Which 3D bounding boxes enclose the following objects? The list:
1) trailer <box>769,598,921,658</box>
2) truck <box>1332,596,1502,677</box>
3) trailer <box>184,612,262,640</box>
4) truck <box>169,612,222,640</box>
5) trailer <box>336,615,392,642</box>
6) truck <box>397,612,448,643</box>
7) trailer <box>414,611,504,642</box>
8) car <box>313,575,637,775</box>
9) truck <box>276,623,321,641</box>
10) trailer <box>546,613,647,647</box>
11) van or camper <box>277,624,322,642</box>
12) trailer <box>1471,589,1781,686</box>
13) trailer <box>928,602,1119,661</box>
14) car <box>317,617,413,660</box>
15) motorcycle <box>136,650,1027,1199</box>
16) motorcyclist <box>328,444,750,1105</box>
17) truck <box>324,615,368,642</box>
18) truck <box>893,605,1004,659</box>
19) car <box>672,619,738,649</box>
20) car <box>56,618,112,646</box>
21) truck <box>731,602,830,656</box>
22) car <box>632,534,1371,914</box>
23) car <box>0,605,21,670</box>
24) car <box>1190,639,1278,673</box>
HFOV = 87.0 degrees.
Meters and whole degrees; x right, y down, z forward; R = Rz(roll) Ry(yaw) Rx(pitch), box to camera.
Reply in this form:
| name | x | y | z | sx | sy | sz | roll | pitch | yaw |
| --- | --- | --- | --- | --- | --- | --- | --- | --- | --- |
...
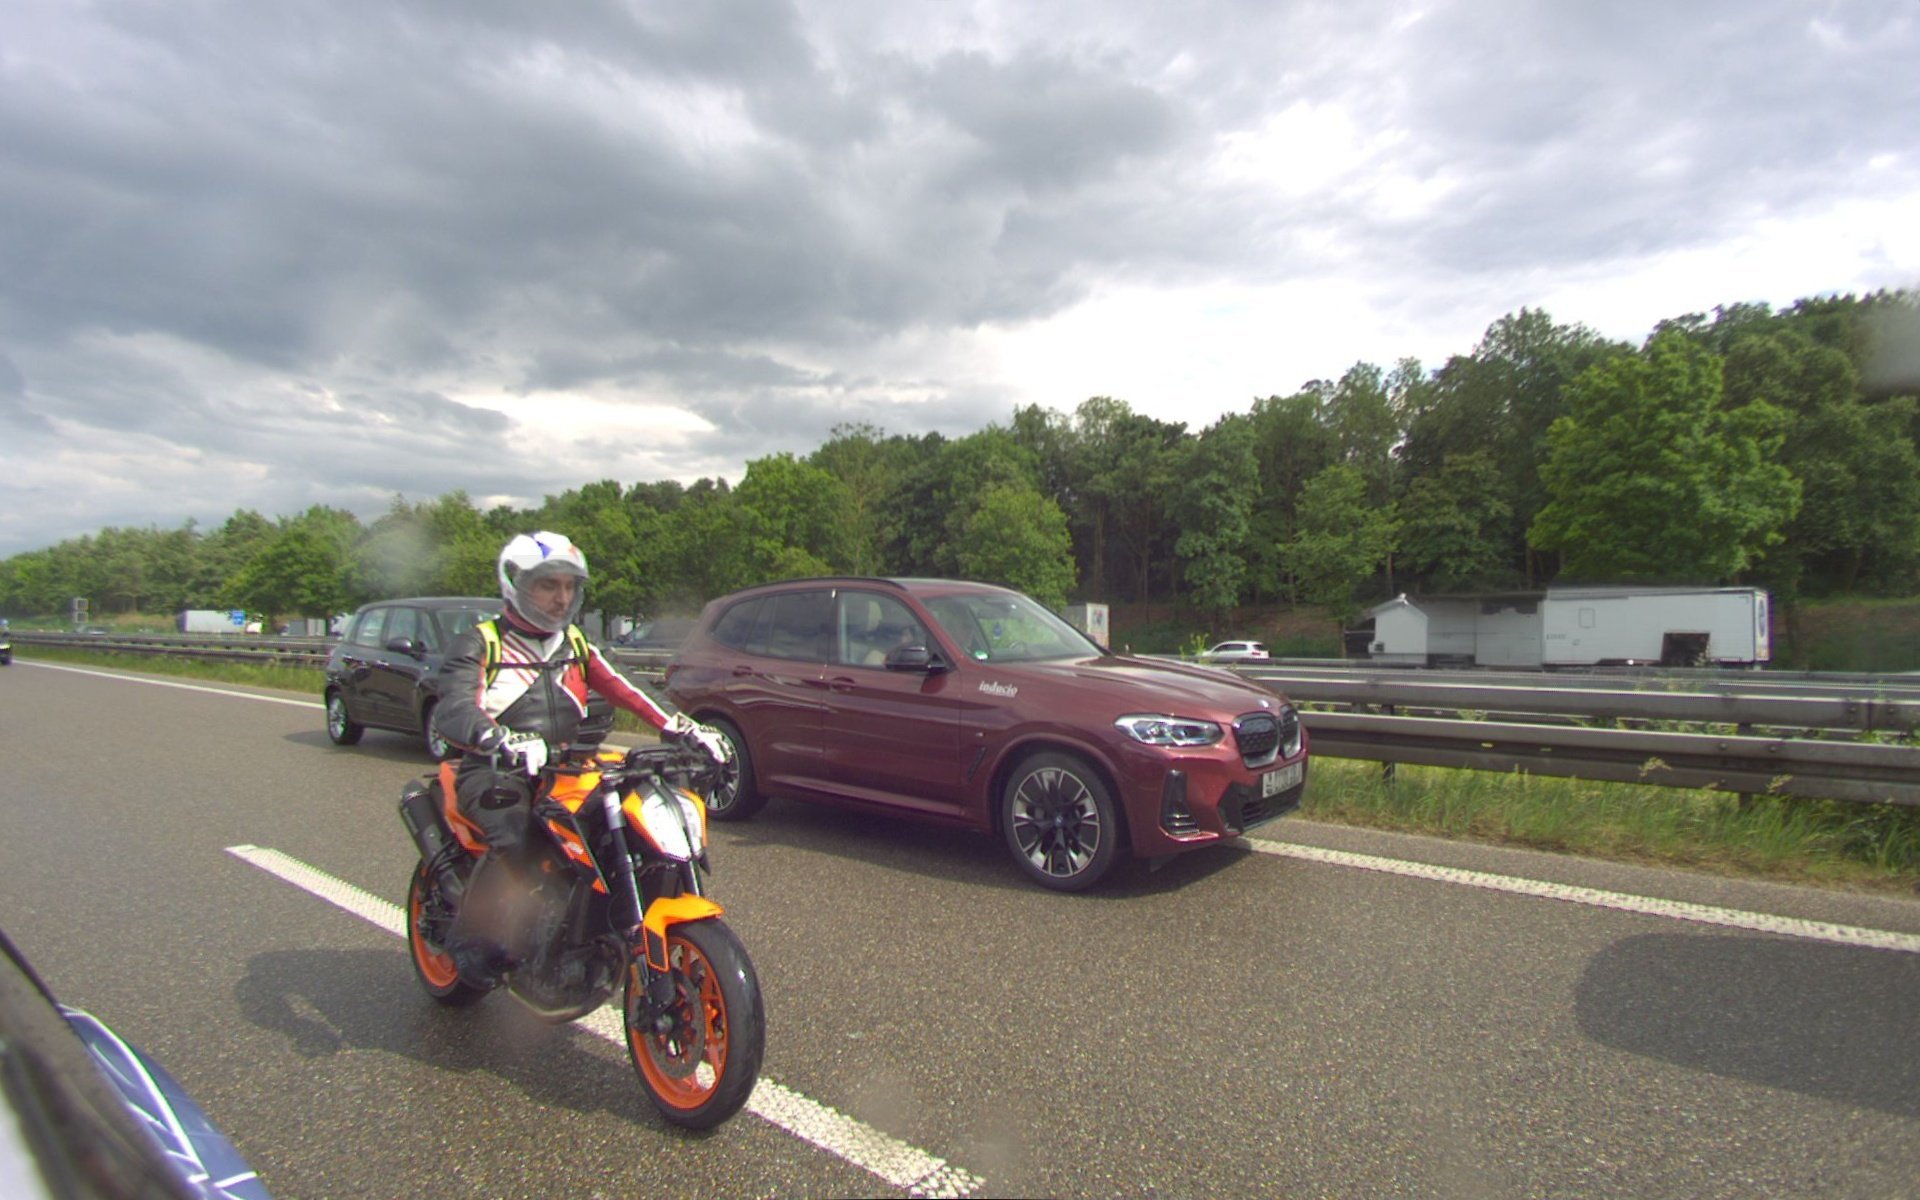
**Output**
| name | x | y | z | sx | sy | sz | roll | pitch | yaw |
| --- | --- | --- | --- | --- | --- | --- | --- | --- | --- |
| trailer | -9.412 | 2.214 | 80.695 | 13.792 | 4.439 | 3.750 | -1 | -2 | 41 |
| truck | 22.282 | 1.679 | 49.565 | 3.744 | 3.688 | 6.709 | -1 | 0 | -45 |
| trailer | -102.140 | 3.613 | 140.191 | 12.500 | 3.767 | 3.186 | -1 | -2 | 26 |
| truck | -108.052 | 3.678 | 143.016 | 6.878 | 3.732 | 3.190 | -1 | 0 | 25 |
| trailer | -74.142 | 3.491 | 125.881 | 7.710 | 3.257 | 2.561 | -1 | -1 | 30 |
| truck | -63.552 | 3.192 | 119.651 | 5.878 | 3.482 | 2.838 | -1 | 0 | 32 |
| trailer | -57.353 | 3.063 | 115.630 | 13.384 | 3.431 | 2.801 | -1 | -2 | 33 |
| car | -5.428 | 0.694 | 11.124 | 3.971 | 1.818 | 1.676 | -1 | 0 | 39 |
| truck | -87.052 | 4.188 | 133.212 | 6.286 | 2.282 | 2.106 | -1 | -1 | 27 |
| trailer | -36.624 | 3.007 | 101.621 | 12.455 | 3.241 | 3.316 | -1 | -2 | 38 |
| van or camper | -86.925 | 4.300 | 133.264 | 6.290 | 2.282 | 2.106 | -1 | -1 | 27 |
| trailer | 28.163 | 1.551 | 43.402 | 3.743 | 3.677 | 10.508 | 1 | -2 | -43 |
| trailer | 4.025 | 2.104 | 68.330 | 13.337 | 3.677 | 3.750 | -1 | -2 | 41 |
| car | -26.625 | 1.662 | 45.200 | 5.204 | 1.789 | 2.031 | -1 | 0 | 39 |
| motorcycle | -1.442 | 0.836 | 3.294 | 3.189 | 1.235 | 1.174 | -1 | 0 | 37 |
| motorcyclist | -1.359 | 0.454 | 3.288 | 0.999 | 1.719 | 0.873 | -1 | 0 | 37 |
| truck | -77.471 | 3.549 | 127.702 | 5.065 | 3.292 | 2.636 | -1 | 0 | 29 |
| truck | -0.885 | 2.188 | 72.583 | 7.349 | 3.616 | 3.749 | -1 | 0 | 40 |
| car | -23.141 | 3.044 | 91.715 | 6.206 | 2.501 | 2.764 | -1 | 0 | 40 |
| car | -59.428 | 2.146 | 68.660 | 5.204 | 1.789 | 2.031 | -1 | 0 | 39 |
| truck | -15.276 | 2.365 | 85.665 | 8.411 | 4.266 | 3.749 | -1 | 0 | 40 |
| car | 0.016 | 0.586 | 6.603 | 4.611 | 1.649 | 1.890 | -1 | -2 | 39 |
| car | -32.478 | 1.210 | 32.813 | 5.138 | 2.060 | 2.321 | -1 | 0 | 39 |
| car | 15.347 | 3.107 | 56.826 | 4.367 | 1.731 | 2.036 | -1 | 0 | 43 |
